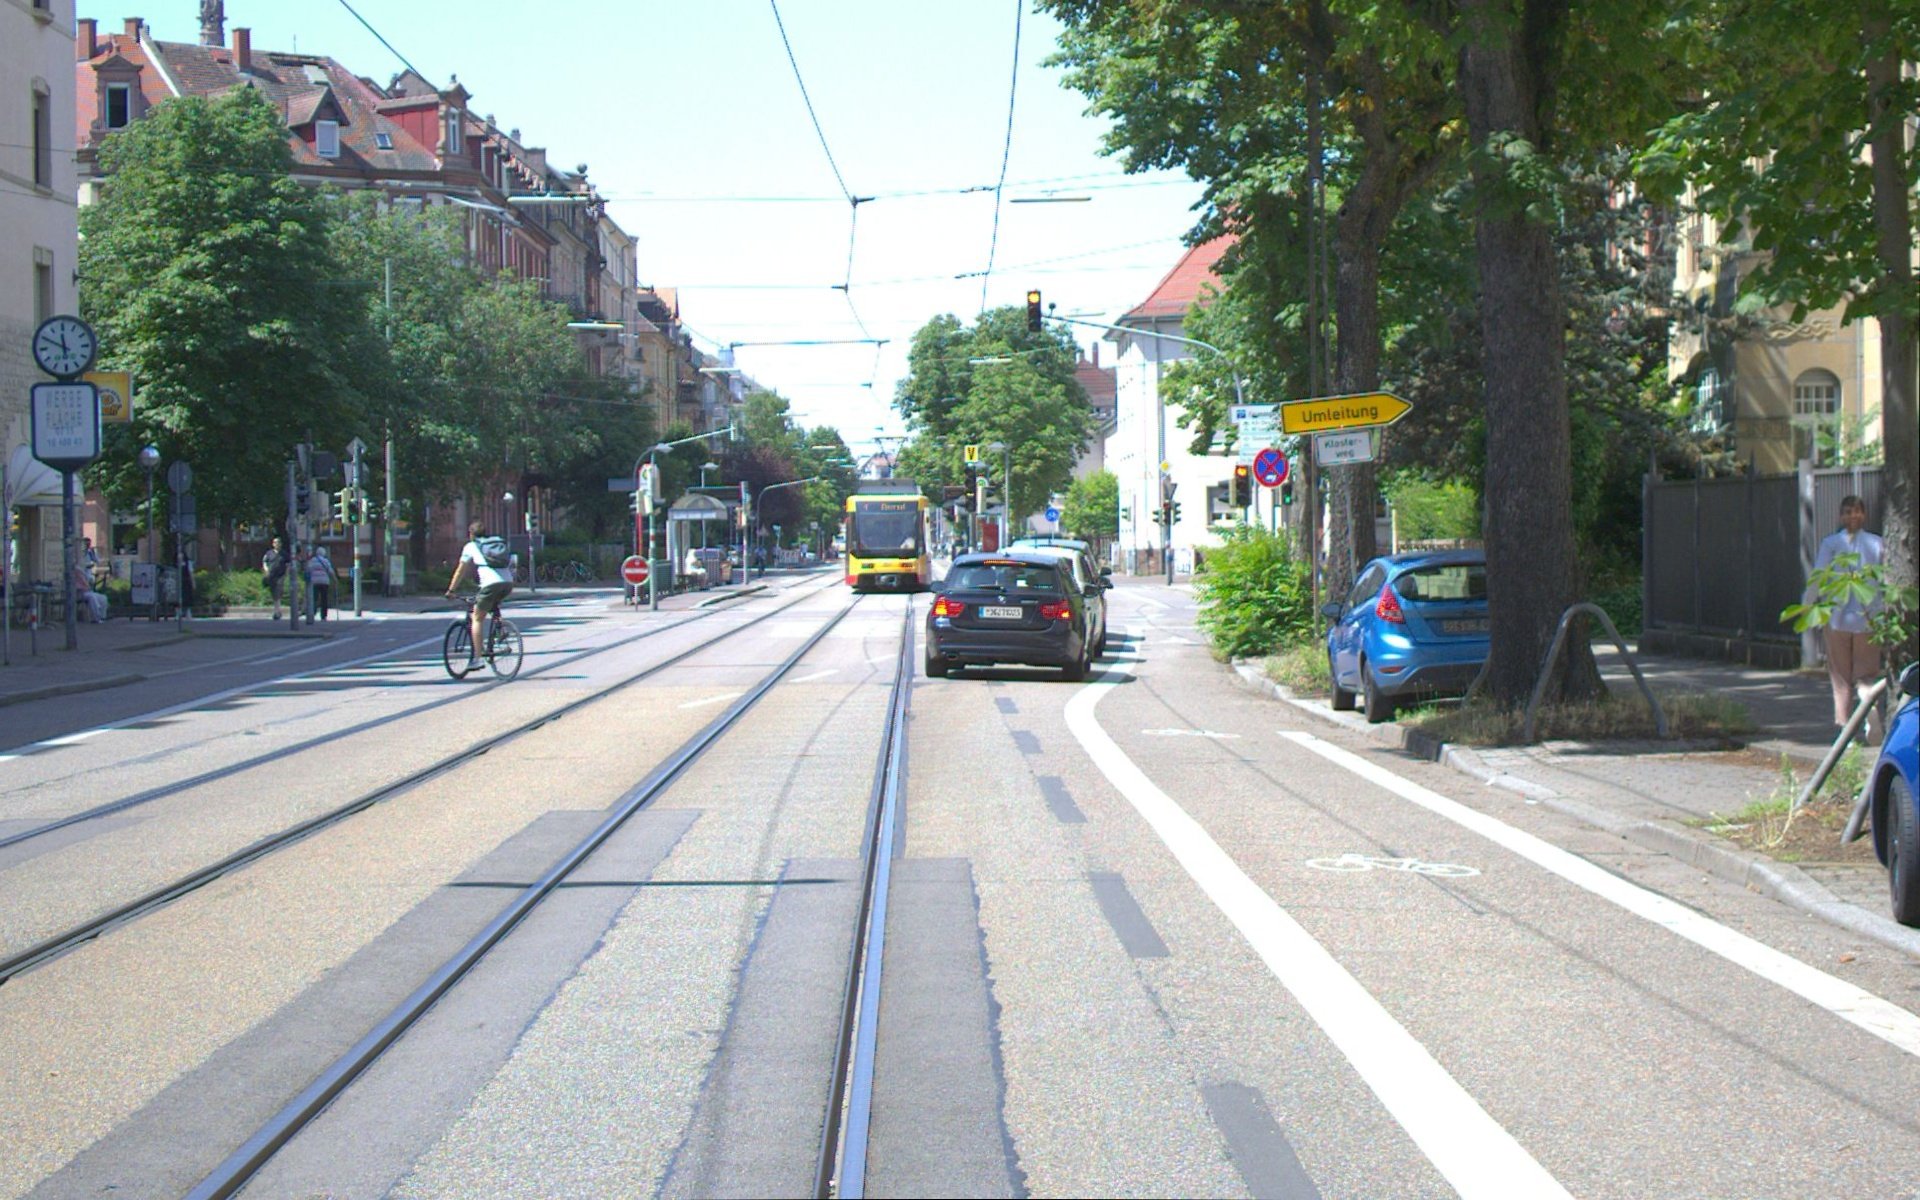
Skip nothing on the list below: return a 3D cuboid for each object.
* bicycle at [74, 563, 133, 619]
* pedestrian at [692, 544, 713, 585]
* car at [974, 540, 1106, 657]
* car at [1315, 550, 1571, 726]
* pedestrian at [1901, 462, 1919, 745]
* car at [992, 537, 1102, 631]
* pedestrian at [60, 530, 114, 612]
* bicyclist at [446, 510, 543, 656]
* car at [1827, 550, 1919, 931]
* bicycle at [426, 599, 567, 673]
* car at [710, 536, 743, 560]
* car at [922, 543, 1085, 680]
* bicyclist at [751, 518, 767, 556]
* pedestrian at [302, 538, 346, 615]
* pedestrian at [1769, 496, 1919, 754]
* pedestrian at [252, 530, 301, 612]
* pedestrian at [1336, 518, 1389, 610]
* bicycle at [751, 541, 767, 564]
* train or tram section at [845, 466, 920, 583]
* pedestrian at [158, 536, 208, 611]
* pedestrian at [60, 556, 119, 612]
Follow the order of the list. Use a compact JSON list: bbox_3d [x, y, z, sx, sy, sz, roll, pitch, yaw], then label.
[{"bbox_3d":[-17.900,-0.186,71.830,0.543,1.125,1.682,-1,-1,-37],"label":"bicycle"},{"bbox_3d":[-7.757,-1.072,103.591,0.613,1.238,0.628,-1,1,-6],"label":"pedestrian"},{"bbox_3d":[1.090,-0.055,46.358,1.685,1.479,3.684,-1,1,2],"label":"car"},{"bbox_3d":[4.278,0.291,30.950,1.677,1.438,3.721,-1,1,-1],"label":"car"},{"bbox_3d":[6.348,0.016,21.530,0.705,1.770,0.947,-1,1,6],"label":"pedestrian"},{"bbox_3d":[1.506,-0.303,58.312,1.691,1.508,3.821,1,1,4],"label":"car"},{"bbox_3d":[-18.593,-0.611,73.228,0.773,1.726,0.862,0,1,-44],"label":"pedestrian"},{"bbox_3d":[-5.369,-0.198,39.657,0.756,1.657,0.830,0,1,-41],"label":"bicyclist"},{"bbox_3d":[4.527,0.542,12.676,1.691,1.448,3.474,-1,1,-1],"label":"car"},{"bbox_3d":[-5.351,0.403,39.589,0.752,0.815,1.819,-1,1,-40],"label":"bicycle"},{"bbox_3d":[-15.500,-3.436,228.171,1.787,1.580,4.001,1,1,-9],"label":"car"},{"bbox_3d":[0.525,0.087,39.526,1.722,1.404,4.565,2,1,1],"label":"car"},{"bbox_3d":[-9.995,-3.119,171.169,0.722,1.864,0.825,-1,1,-1],"label":"bicyclist"},{"bbox_3d":[-14.287,-0.530,77.300,0.916,1.717,0.840,-1,1,-8],"label":"pedestrian"},{"bbox_3d":[5.797,0.152,22.546,0.766,1.645,0.974,-1,1,3],"label":"pedestrian"},{"bbox_3d":[-15.859,-0.683,79.764,0.900,1.884,1.165,0,1,-1],"label":"pedestrian"},{"bbox_3d":[7.264,-0.650,62.087,0.857,1.640,0.836,-1,1,2],"label":"pedestrian"},{"bbox_3d":[-10.004,-2.349,171.140,0.729,1.098,1.716,1,2,-1],"label":"bicycle"},{"bbox_3d":[-2.386,-2.346,107.403,2.190,3.470,8.846,-1,1,-1],"label":"train or tram section"},{"bbox_3d":[-17.188,-0.592,76.067,0.860,1.630,1.026,-1,1,-1],"label":"pedestrian"},{"bbox_3d":[-17.272,-0.319,68.239,0.915,1.074,0.883,-1,1,1],"label":"pedestrian"}]
